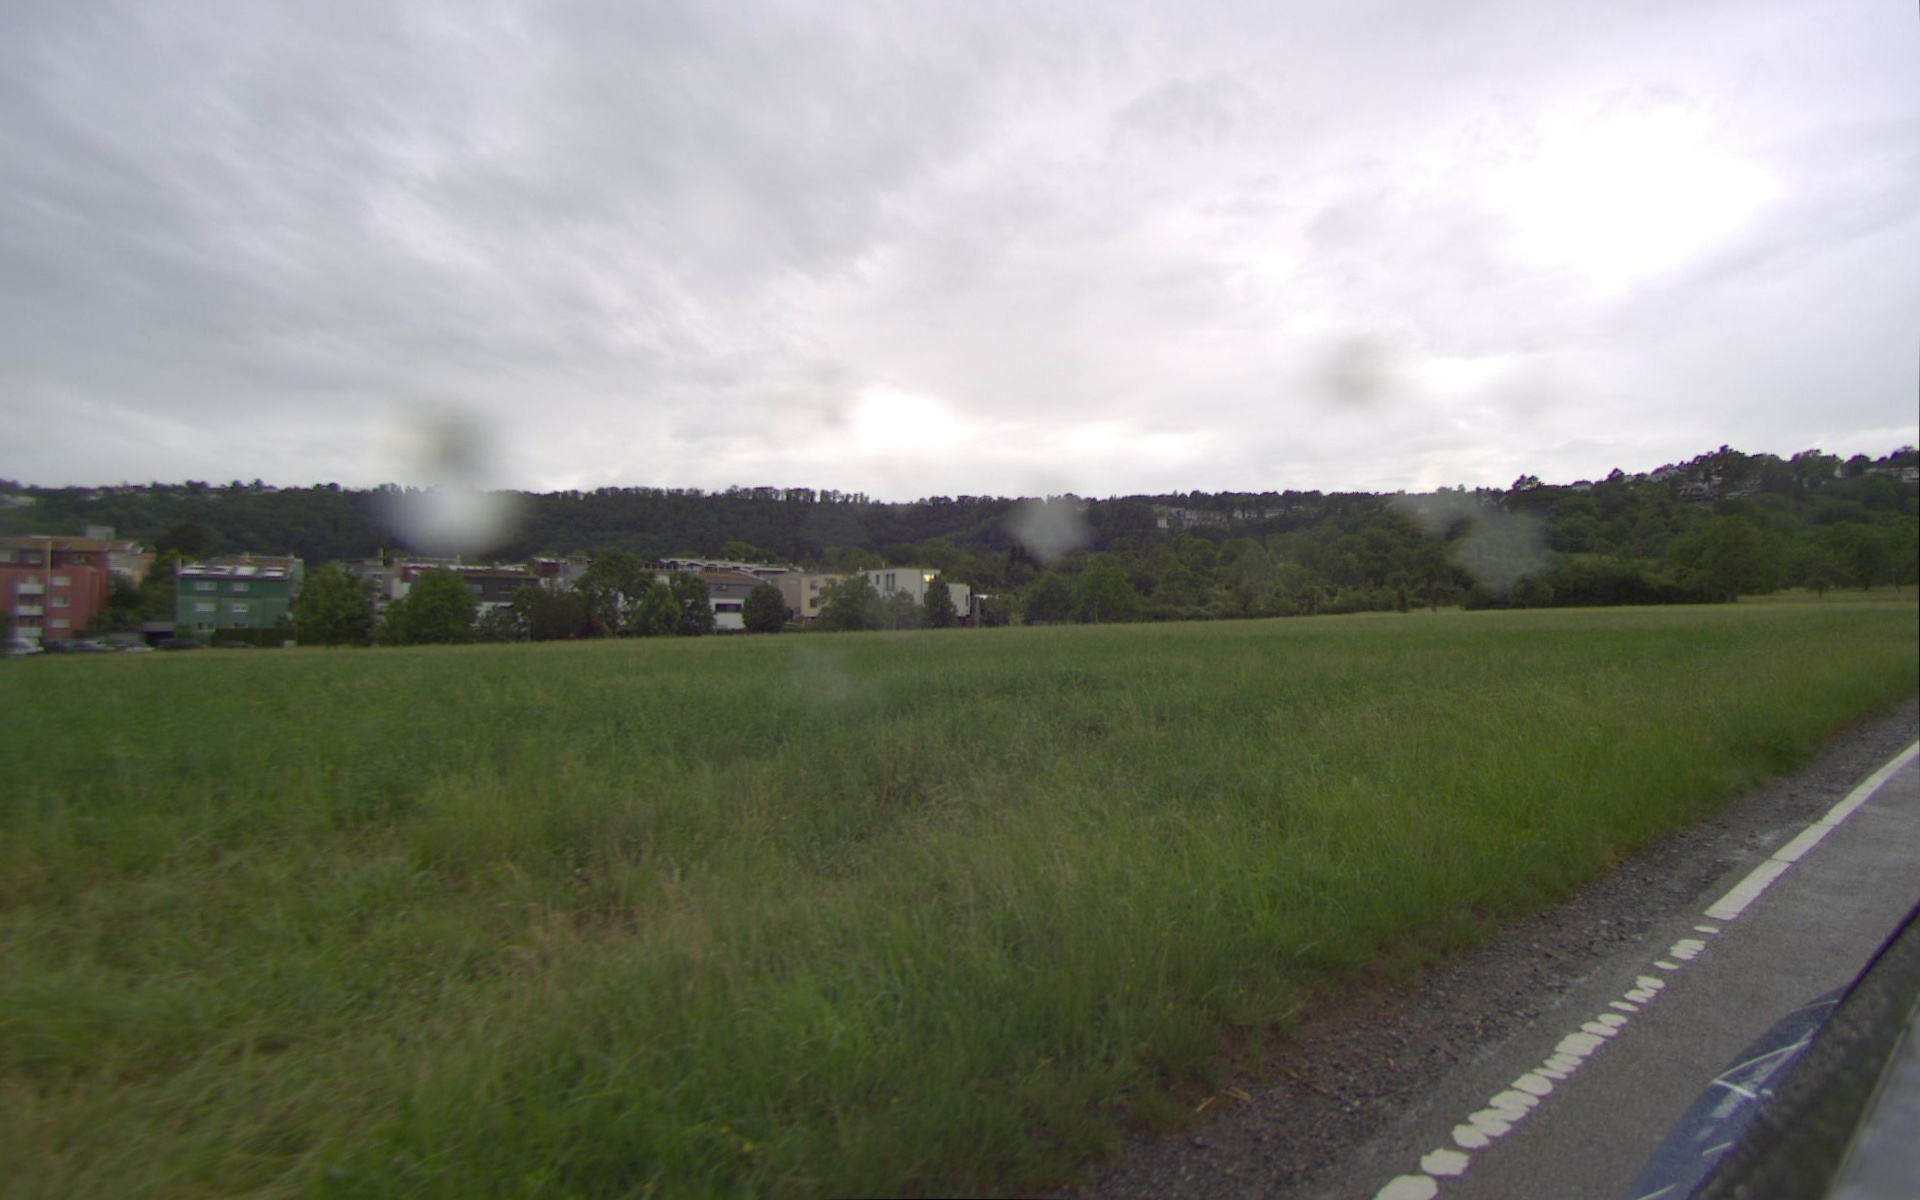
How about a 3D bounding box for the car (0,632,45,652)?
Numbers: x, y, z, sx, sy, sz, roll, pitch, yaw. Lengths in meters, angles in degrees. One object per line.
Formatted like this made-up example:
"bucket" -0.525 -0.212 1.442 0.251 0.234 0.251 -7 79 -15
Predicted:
"car" -111.845 4.982 119.532 5.171 2.039 2.004 -1 1 -24
